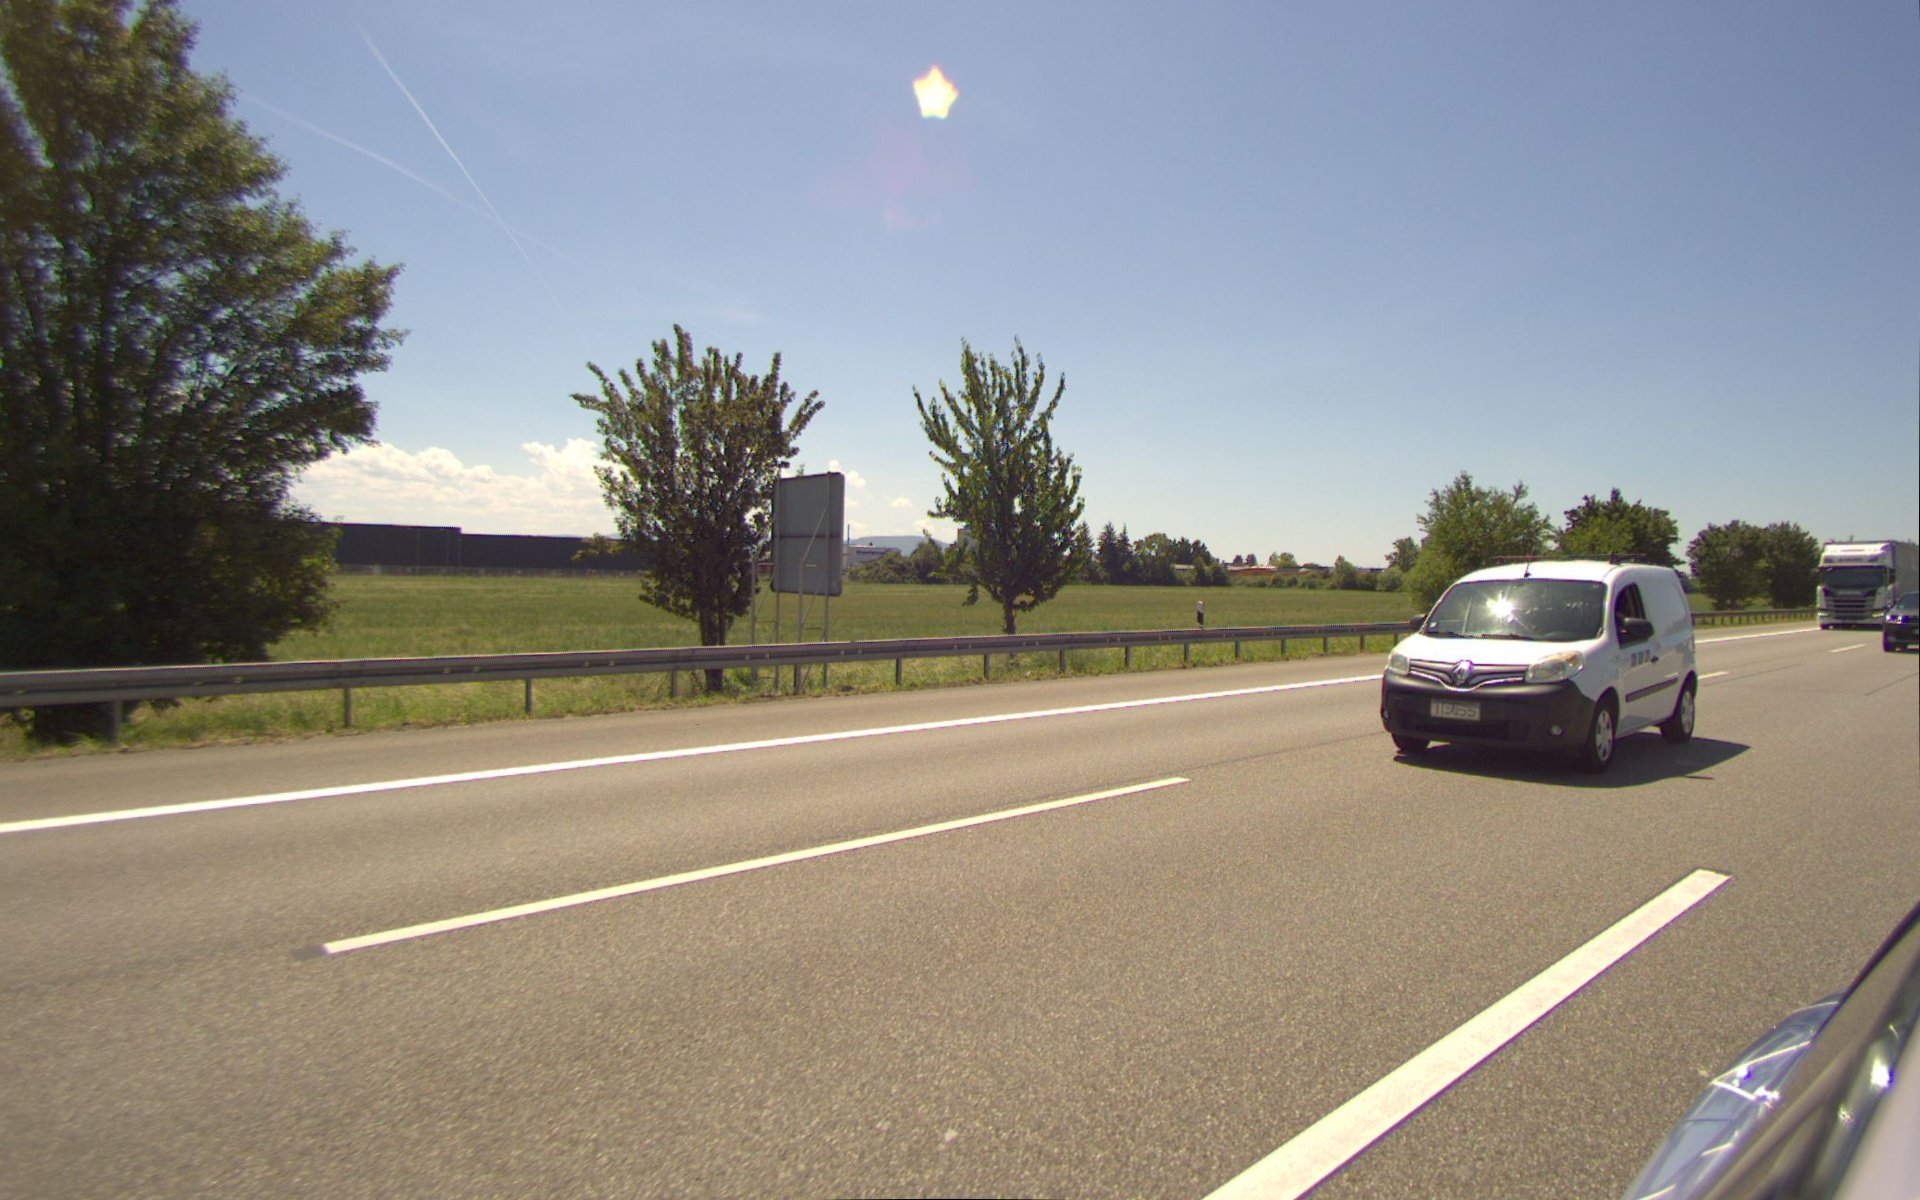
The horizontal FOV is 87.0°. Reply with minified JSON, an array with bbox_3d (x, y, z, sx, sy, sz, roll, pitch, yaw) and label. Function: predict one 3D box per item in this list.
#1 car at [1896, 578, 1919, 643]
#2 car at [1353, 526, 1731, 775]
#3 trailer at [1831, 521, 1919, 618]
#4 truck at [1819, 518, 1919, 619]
[{"bbox_3d":[27.211,0.270,27.620,4.662,1.696,1.871,0,0,-40],"label":"car"},{"bbox_3d":[5.849,0.370,9.900,4.621,1.886,1.856,0,0,-42],"label":"car"},{"bbox_3d":[47.465,-1.421,51.404,14.003,4.359,2.815,0,0,-41],"label":"trailer"},{"bbox_3d":[42.810,-1.389,47.405,7.066,4.359,2.815,0,0,-41],"label":"truck"}]
